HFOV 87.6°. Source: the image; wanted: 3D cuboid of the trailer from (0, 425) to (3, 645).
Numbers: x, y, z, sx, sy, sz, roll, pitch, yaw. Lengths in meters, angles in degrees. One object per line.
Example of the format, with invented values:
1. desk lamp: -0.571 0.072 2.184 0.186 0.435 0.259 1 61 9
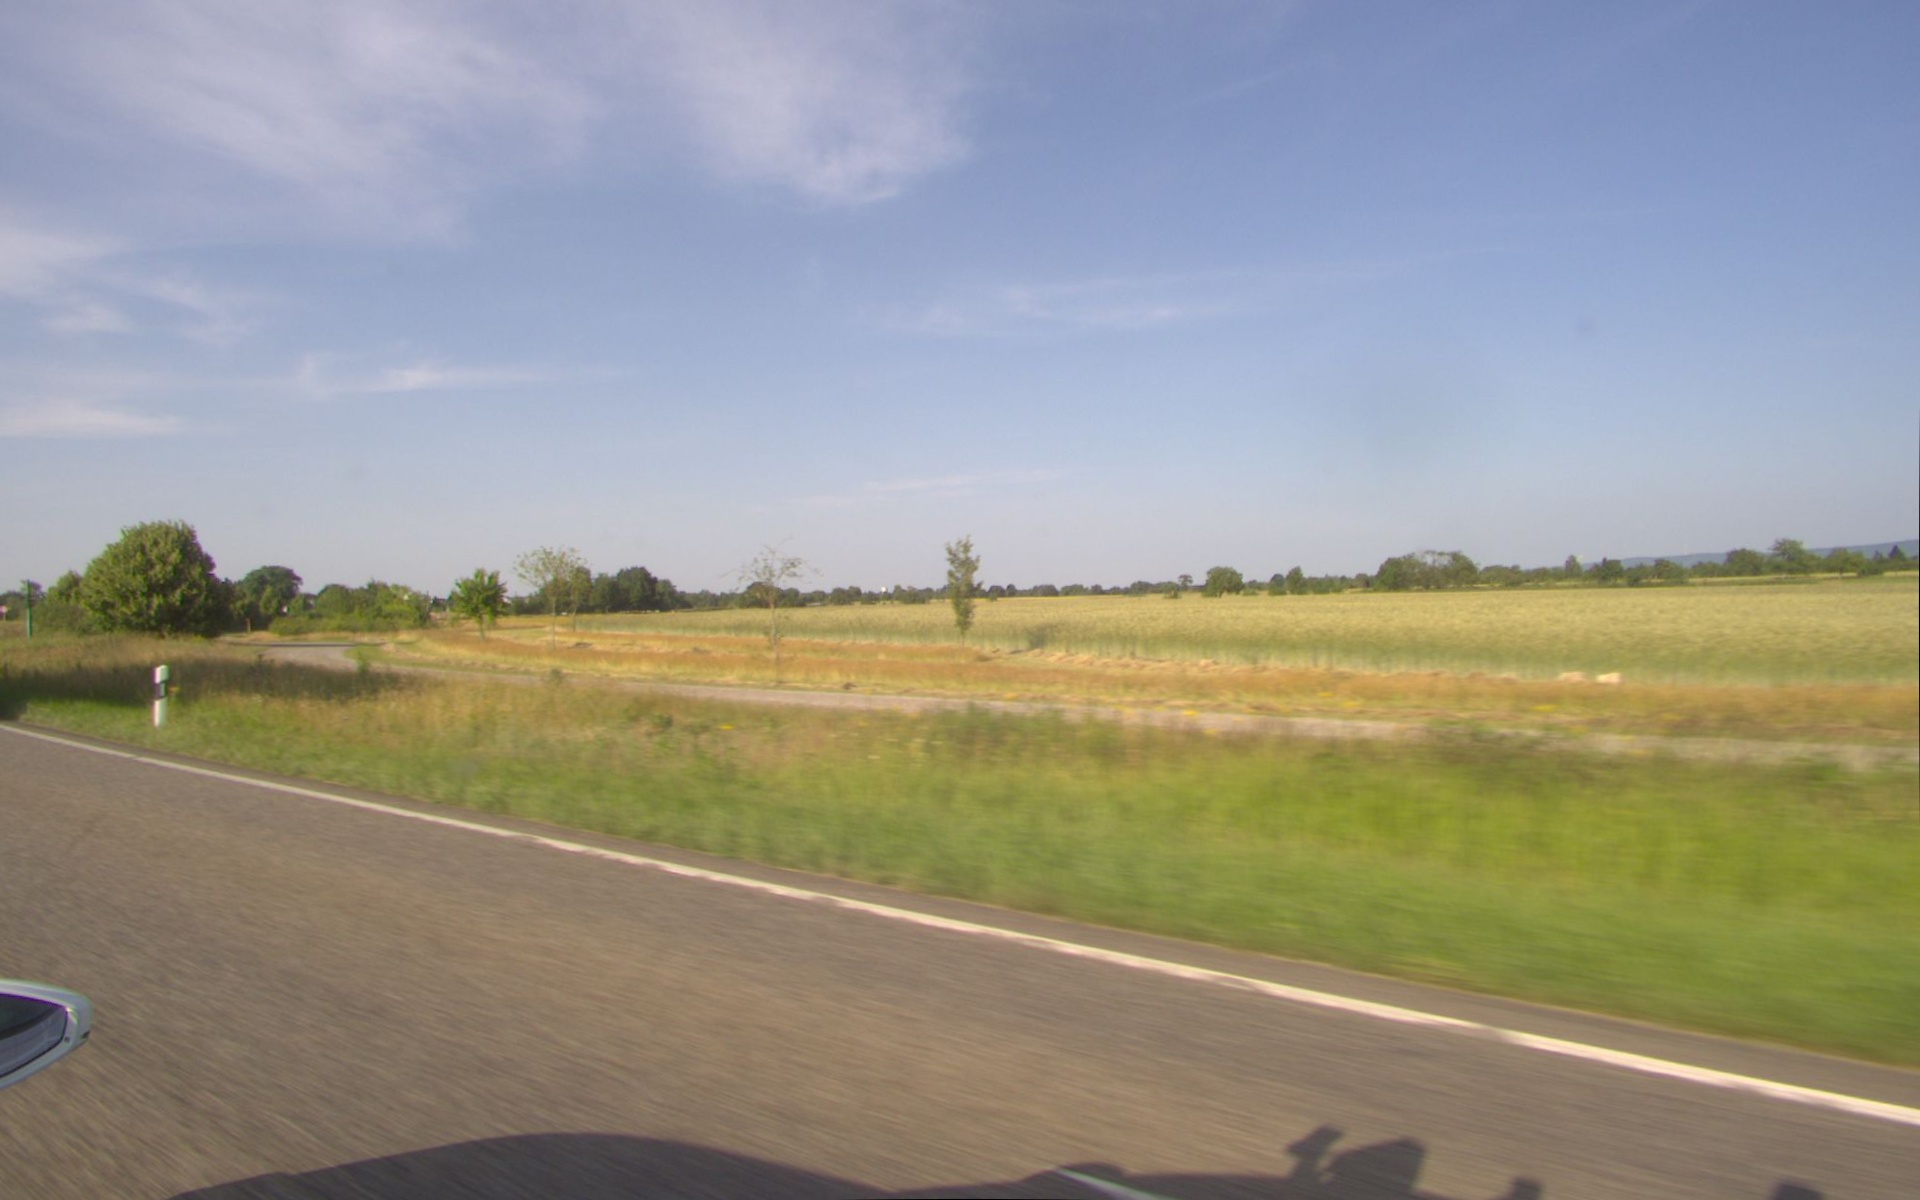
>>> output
1. trailer: -21.633 -0.438 18.947 12.983 4.741 3.269 -1 -1 38
